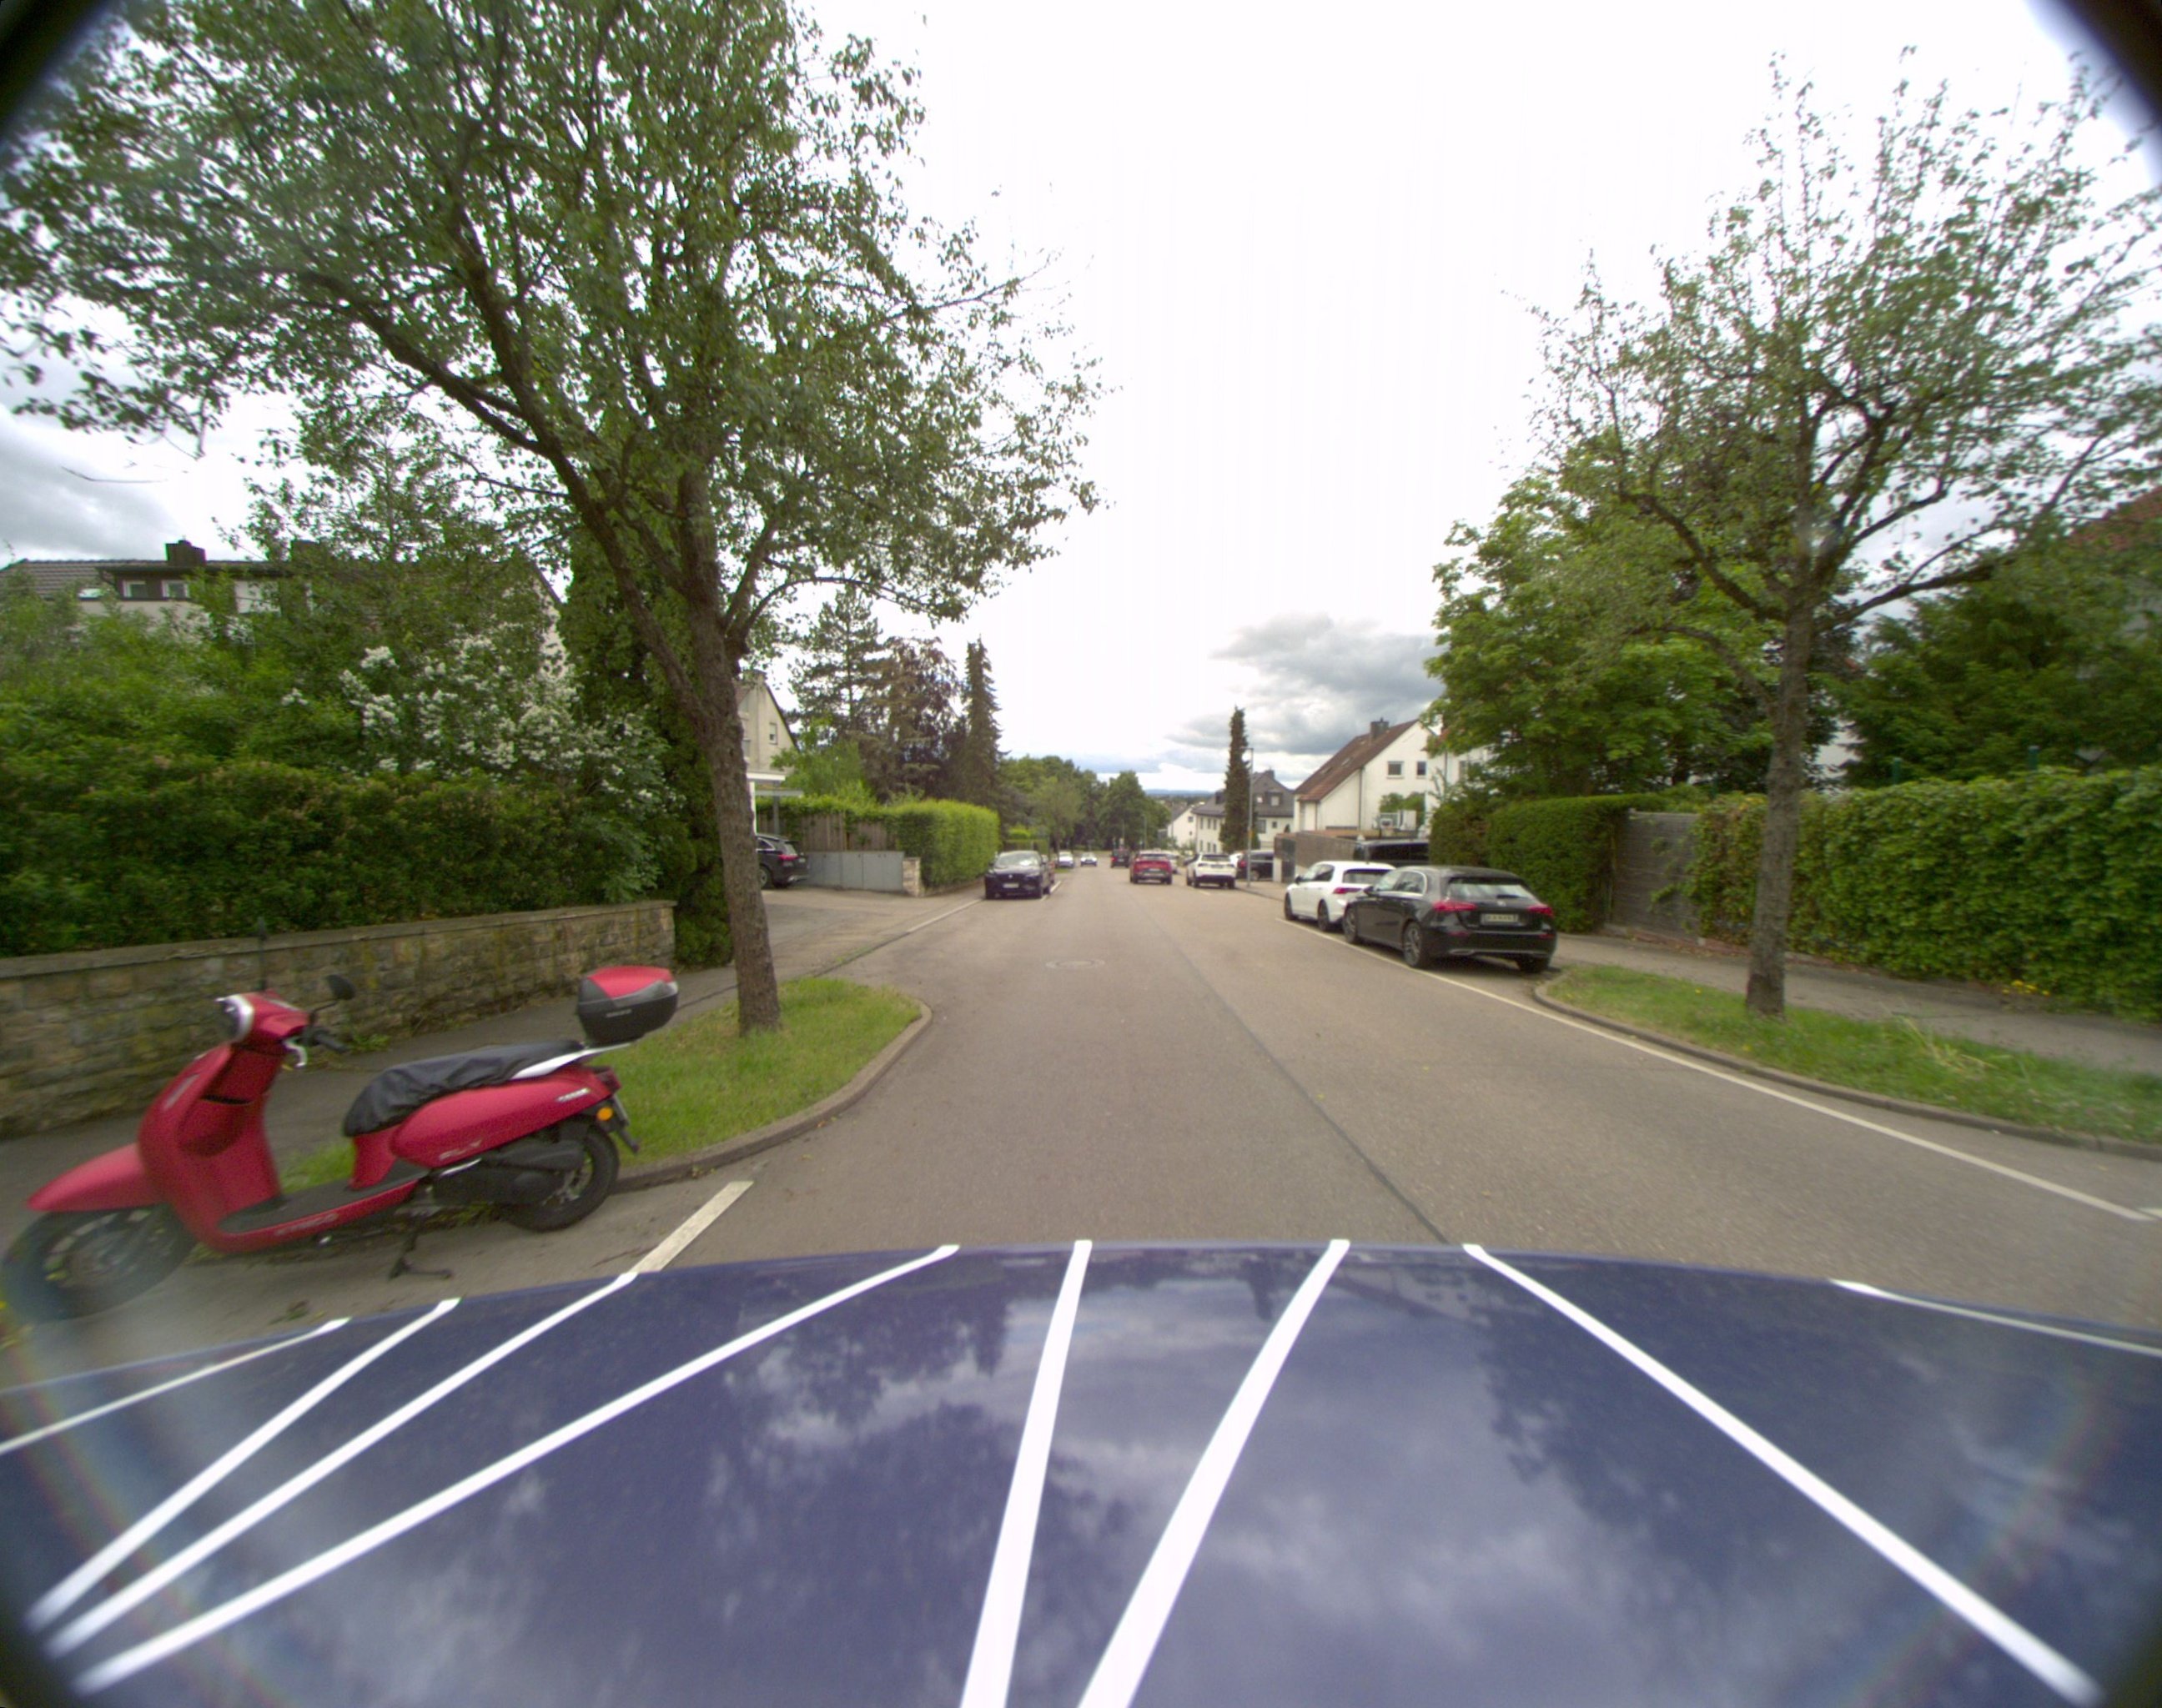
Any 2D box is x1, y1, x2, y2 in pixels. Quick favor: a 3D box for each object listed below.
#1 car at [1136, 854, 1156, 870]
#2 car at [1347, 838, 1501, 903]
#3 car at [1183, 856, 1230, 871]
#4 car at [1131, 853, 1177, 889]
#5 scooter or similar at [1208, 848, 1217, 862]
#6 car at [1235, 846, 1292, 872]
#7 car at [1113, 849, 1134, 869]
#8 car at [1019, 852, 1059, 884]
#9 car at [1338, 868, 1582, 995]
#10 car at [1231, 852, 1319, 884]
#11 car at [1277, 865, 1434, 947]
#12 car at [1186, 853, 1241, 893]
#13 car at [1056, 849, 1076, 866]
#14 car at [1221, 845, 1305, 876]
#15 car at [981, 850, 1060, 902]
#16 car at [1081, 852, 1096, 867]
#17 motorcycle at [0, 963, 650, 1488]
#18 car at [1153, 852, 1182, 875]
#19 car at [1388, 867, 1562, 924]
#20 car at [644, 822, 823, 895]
[{"bbox_3d":[6.927,0.829,81.049,1.882,1.528,3.507,0,1,1],"label":"car"},{"bbox_3d":[10.822,0.460,24.294,4.080,1.939,2.001,0,2,9],"label":"car"},{"bbox_3d":[12.397,0.934,75.248,4.299,1.360,1.903,0,1,-5],"label":"car"},{"bbox_3d":[3.584,0.793,38.095,1.946,1.638,4.257,2,1,1],"label":"car"},{"bbox_3d":[10.827,0.051,62.609,0.475,1.142,1.456,-1,1,17],"label":"scooter or similar"},{"bbox_3d":[12.283,0.302,51.252,3.437,1.569,1.656,-2,2,2],"label":"car"},{"bbox_3d":[4.173,0.493,75.018,1.890,1.840,4.401,1,1,0],"label":"car"},{"bbox_3d":[-2.041,0.676,37.774,1.665,1.499,3.758,0,0,1],"label":"car"},{"bbox_3d":[5.454,1.018,11.597,1.731,1.415,4.079,1,1,1],"label":"car"},{"bbox_3d":[10.491,0.752,41.335,4.306,1.602,1.854,1,1,5],"label":"car"},{"bbox_3d":[5.791,1.023,16.677,1.842,1.414,4.408,2,1,0],"label":"car"},{"bbox_3d":[6.035,0.833,35.093,1.841,1.657,4.408,2,1,2],"label":"car"},{"bbox_3d":[-1.478,0.348,74.583,1.860,1.573,4.171,-1,1,-1],"label":"car"},{"bbox_3d":[10.629,0.355,44.580,4.422,1.619,1.910,-3,1,0],"label":"car"},{"bbox_3d":[-2.067,0.724,27.222,1.998,1.609,4.514,-2,1,6],"label":"car"},{"bbox_3d":[0.835,0.591,83.873,1.568,1.504,3.396,0,0,0],"label":"car"},{"bbox_3d":[-2.738,1.193,2.884,1.872,1.339,0.598,0,1,-35],"label":"motorcycle"},{"bbox_3d":[6.447,0.685,56.830,1.765,1.554,3.855,1,1,1],"label":"car"},{"bbox_3d":[10.824,1.117,21.169,3.992,1.437,1.780,0,1,14],"label":"car"},{"bbox_3d":[-10.356,0.127,22.890,4.375,1.640,1.885,6,1,-1],"label":"car"}]
